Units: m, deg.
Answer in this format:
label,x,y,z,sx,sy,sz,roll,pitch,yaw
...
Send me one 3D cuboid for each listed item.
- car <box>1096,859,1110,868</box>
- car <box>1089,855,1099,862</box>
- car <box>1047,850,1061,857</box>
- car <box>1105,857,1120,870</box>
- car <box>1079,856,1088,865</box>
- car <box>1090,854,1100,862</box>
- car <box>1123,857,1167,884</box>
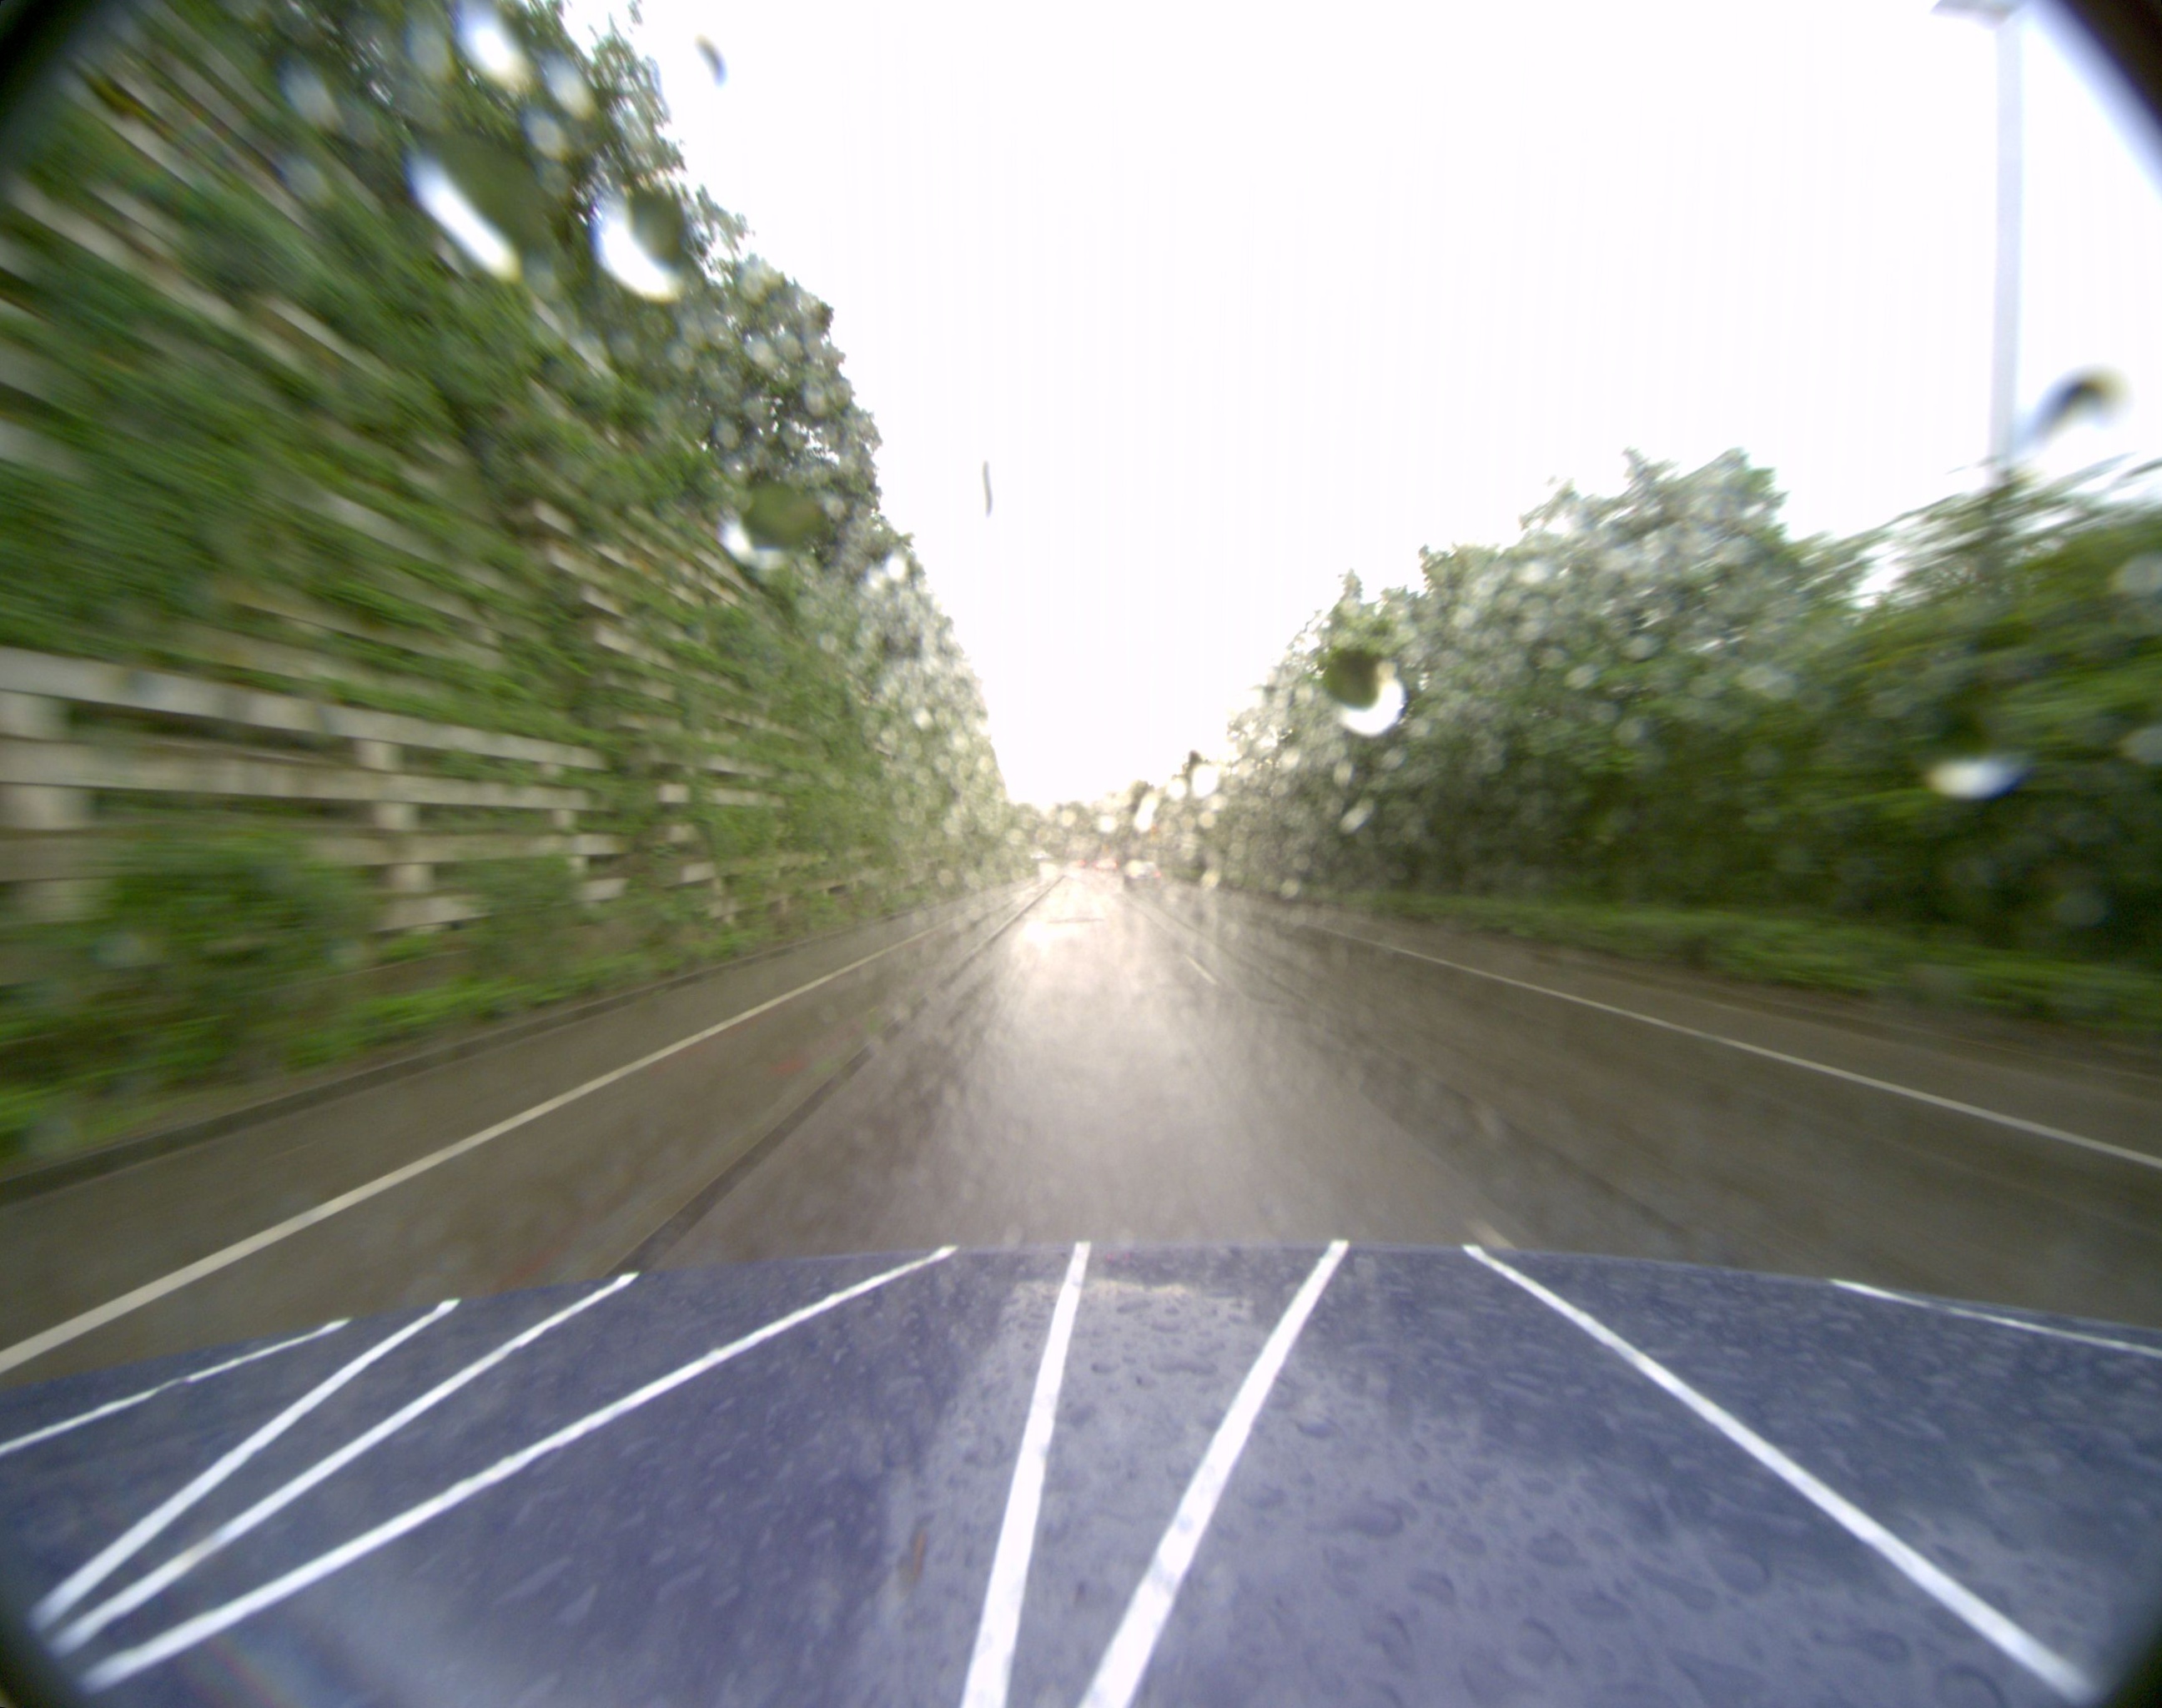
label,x,y,z,sx,sy,sz,roll,pitch,yaw
car,3.385,1.433,115.291,1.870,1.440,4.377,-1,0,-2
car,2.850,0.910,160.375,1.998,1.494,4.729,-2,0,2
car,-7.554,-0.149,211.020,3.823,1.559,1.773,2,1,-5
car,4.079,1.166,96.717,1.827,1.605,4.094,-2,0,3
car,0.538,1.314,151.975,1.737,1.608,4.000,-1,1,3
car,2.902,0.775,152.446,1.819,1.648,4.051,-2,0,3
car,3.510,0.884,42.333,1.999,1.356,4.251,-2,0,-1
